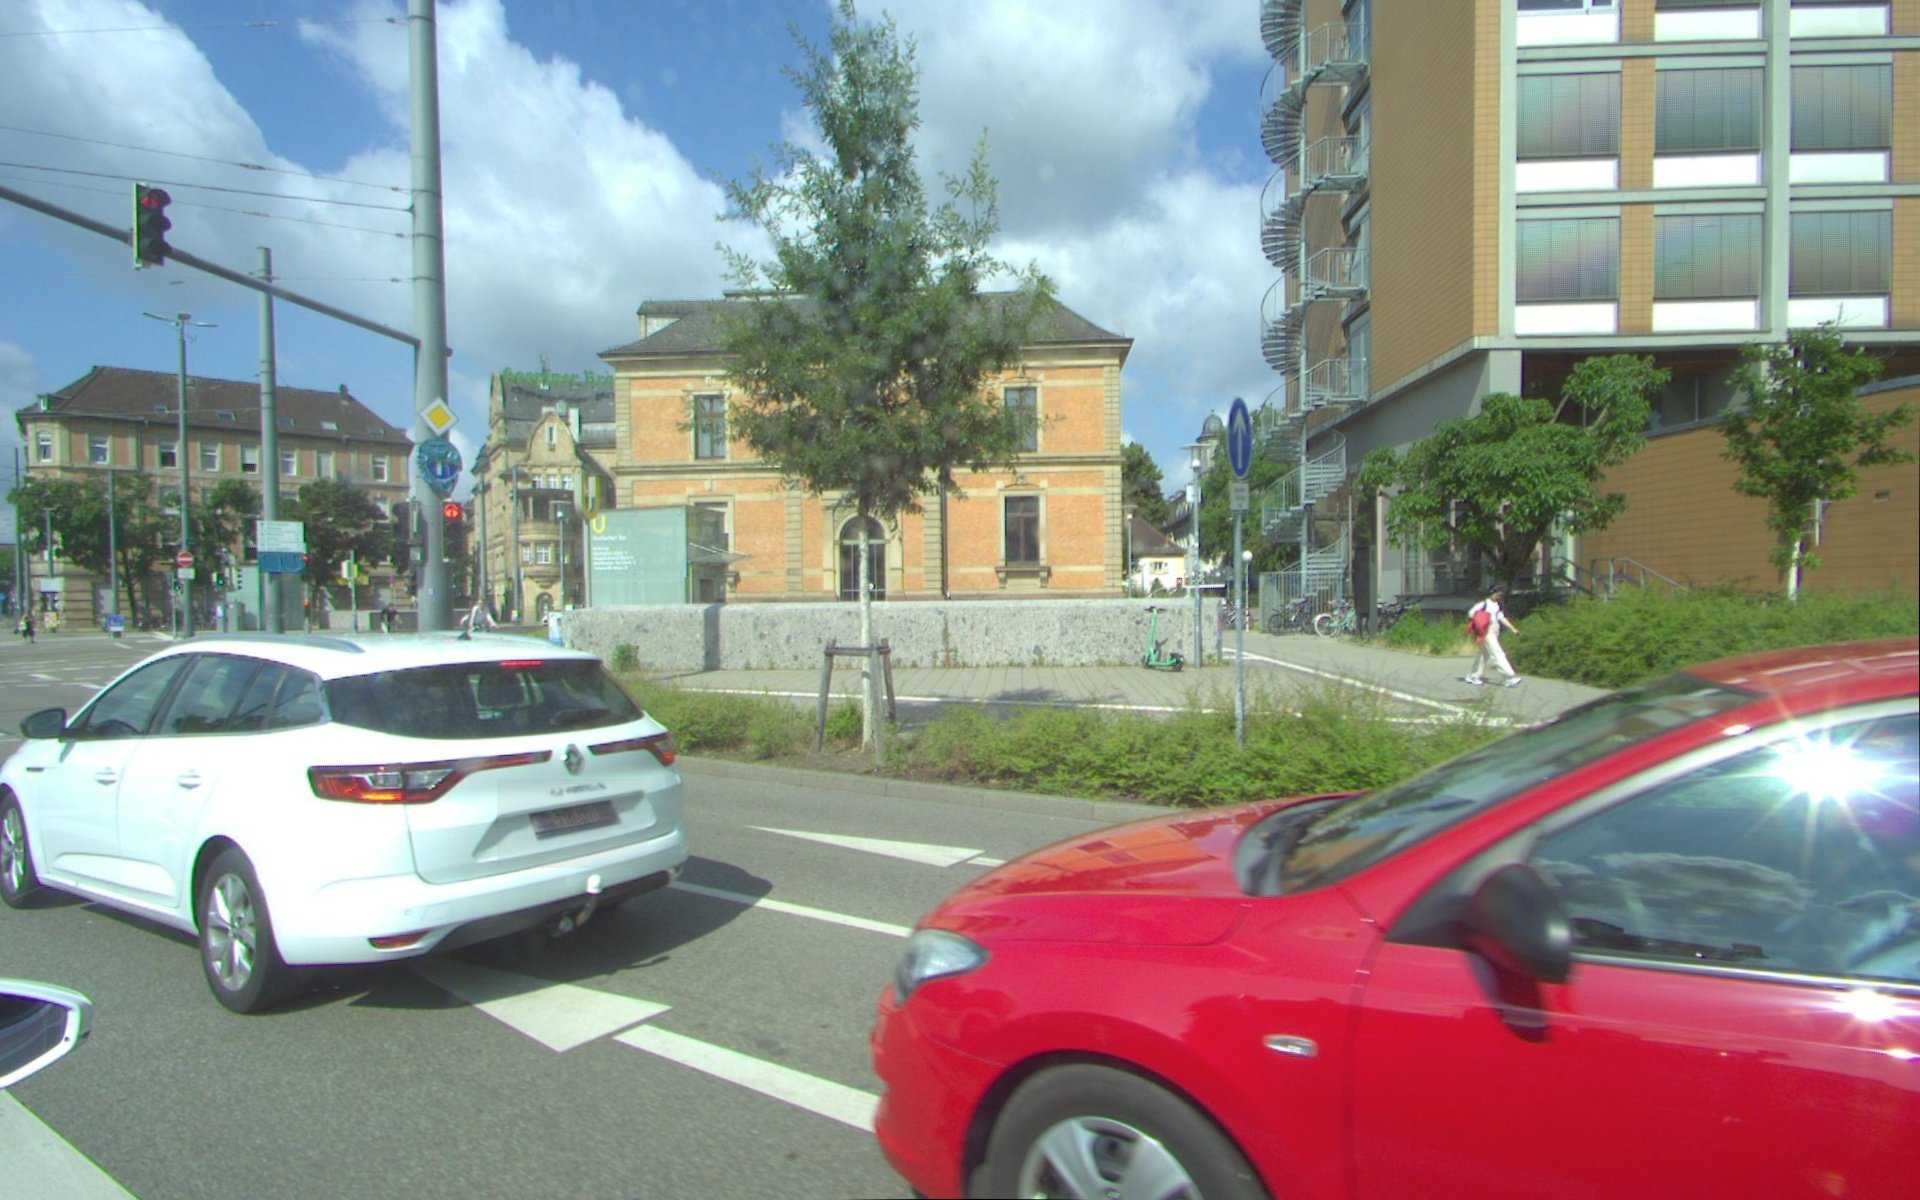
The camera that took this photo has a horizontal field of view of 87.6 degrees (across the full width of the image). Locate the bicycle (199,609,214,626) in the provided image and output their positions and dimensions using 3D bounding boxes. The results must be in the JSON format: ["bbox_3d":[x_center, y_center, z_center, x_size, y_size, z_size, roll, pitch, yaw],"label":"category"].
[{"bbox_3d":[-53.494,1.223,71.073,0.752,1.181,2.662,-1,0,-40],"label":"bicycle"}]

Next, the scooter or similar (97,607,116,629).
[{"bbox_3d":[-57.232,1.198,67.138,0.871,1.502,1.996,-1,0,-42],"label":"scooter or similar"}]

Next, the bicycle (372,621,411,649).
[{"bbox_3d":[-20.160,1.229,35.508,0.753,0.887,1.791,-4,3,-44],"label":"bicycle"}]

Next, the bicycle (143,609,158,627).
[{"bbox_3d":[-55.942,1.216,69.160,0.752,1.181,2.662,-1,0,-40],"label":"bicycle"}]

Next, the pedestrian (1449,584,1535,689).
[{"bbox_3d":[8.363,0.554,15.773,0.755,1.599,0.956,-1,1,-13],"label":"pedestrian"}]

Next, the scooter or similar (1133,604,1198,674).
[{"bbox_3d":[3.789,0.692,18.600,0.427,1.200,1.532,-1,2,-20],"label":"scooter or similar"}]

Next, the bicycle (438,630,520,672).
[{"bbox_3d":[-11.098,1.159,23.072,2.244,0.909,0.649,0,0,34],"label":"bicycle"}]

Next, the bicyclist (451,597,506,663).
[{"bbox_3d":[-11.084,0.672,23.059,1.153,1.477,0.632,0,1,34],"label":"bicyclist"}]

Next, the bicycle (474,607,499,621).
[{"bbox_3d":[-36.496,1.075,77.187,0.830,0.969,1.778,-2,0,8],"label":"bicycle"}]

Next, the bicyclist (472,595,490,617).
[{"bbox_3d":[-36.932,0.474,77.197,0.604,1.697,1.147,-1,0,14],"label":"bicyclist"}]

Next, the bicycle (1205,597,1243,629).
[{"bbox_3d":[10.652,0.531,40.404,1.446,1.264,0.428,0,1,3],"label":"bicycle"}]

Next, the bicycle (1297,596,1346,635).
[{"bbox_3d":[11.832,0.498,32.773,1.446,1.264,0.428,0,1,3],"label":"bicycle"}]

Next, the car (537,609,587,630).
[{"bbox_3d":[-32.313,1.627,81.373,1.919,1.616,4.508,0,-2,6],"label":"car"}]

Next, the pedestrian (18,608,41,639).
[{"bbox_3d":[-45.719,1.150,49.198,0.733,1.536,0.541,-1,1,-34],"label":"pedestrian"}]

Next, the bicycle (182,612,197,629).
[{"bbox_3d":[-54.119,1.446,70.346,0.753,1.180,2.663,1,-2,-39],"label":"bicycle"}]

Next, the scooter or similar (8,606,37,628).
[{"bbox_3d":[-60.753,1.115,64.892,2.773,1.403,1.171,-2,-2,42],"label":"scooter or similar"}]

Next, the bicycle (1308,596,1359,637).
[{"bbox_3d":[11.840,0.521,31.770,1.446,1.264,0.428,0,1,3],"label":"bicycle"}]

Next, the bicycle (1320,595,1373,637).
[{"bbox_3d":[11.859,0.496,30.737,1.446,1.264,0.428,0,1,3],"label":"bicycle"}]

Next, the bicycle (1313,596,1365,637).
[{"bbox_3d":[11.836,0.515,31.268,1.446,1.264,0.428,0,1,3],"label":"bicycle"}]

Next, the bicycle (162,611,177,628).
[{"bbox_3d":[-55.118,1.342,69.802,0.753,1.181,2.662,0,0,-40],"label":"bicycle"}]

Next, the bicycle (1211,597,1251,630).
[{"bbox_3d":[10.595,0.521,39.137,1.446,1.264,0.428,0,1,3],"label":"bicycle"}]

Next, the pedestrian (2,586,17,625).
[{"bbox_3d":[-77.527,0.440,81.703,0.717,3.115,0.883,0,-1,-33],"label":"pedestrian"}]

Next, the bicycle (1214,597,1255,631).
[{"bbox_3d":[10.462,0.538,38.136,1.446,1.264,0.428,0,1,3],"label":"bicycle"}]

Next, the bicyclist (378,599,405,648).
[{"bbox_3d":[-20.135,0.821,35.487,0.573,1.694,0.928,-3,2,-44],"label":"bicyclist"}]

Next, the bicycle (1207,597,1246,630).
[{"bbox_3d":[10.591,0.533,39.798,1.446,1.264,0.428,0,1,3],"label":"bicycle"}]

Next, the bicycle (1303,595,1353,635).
[{"bbox_3d":[11.846,0.493,32.264,1.446,1.264,0.428,0,1,3],"label":"bicycle"}]

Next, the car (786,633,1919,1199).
[{"bbox_3d":[1.718,0.813,2.017,4.006,1.486,1.639,-1,-2,31],"label":"car"}]

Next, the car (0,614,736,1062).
[{"bbox_3d":[-3.449,0.849,5.265,4.610,1.447,1.754,-2,-2,34],"label":"car"}]
